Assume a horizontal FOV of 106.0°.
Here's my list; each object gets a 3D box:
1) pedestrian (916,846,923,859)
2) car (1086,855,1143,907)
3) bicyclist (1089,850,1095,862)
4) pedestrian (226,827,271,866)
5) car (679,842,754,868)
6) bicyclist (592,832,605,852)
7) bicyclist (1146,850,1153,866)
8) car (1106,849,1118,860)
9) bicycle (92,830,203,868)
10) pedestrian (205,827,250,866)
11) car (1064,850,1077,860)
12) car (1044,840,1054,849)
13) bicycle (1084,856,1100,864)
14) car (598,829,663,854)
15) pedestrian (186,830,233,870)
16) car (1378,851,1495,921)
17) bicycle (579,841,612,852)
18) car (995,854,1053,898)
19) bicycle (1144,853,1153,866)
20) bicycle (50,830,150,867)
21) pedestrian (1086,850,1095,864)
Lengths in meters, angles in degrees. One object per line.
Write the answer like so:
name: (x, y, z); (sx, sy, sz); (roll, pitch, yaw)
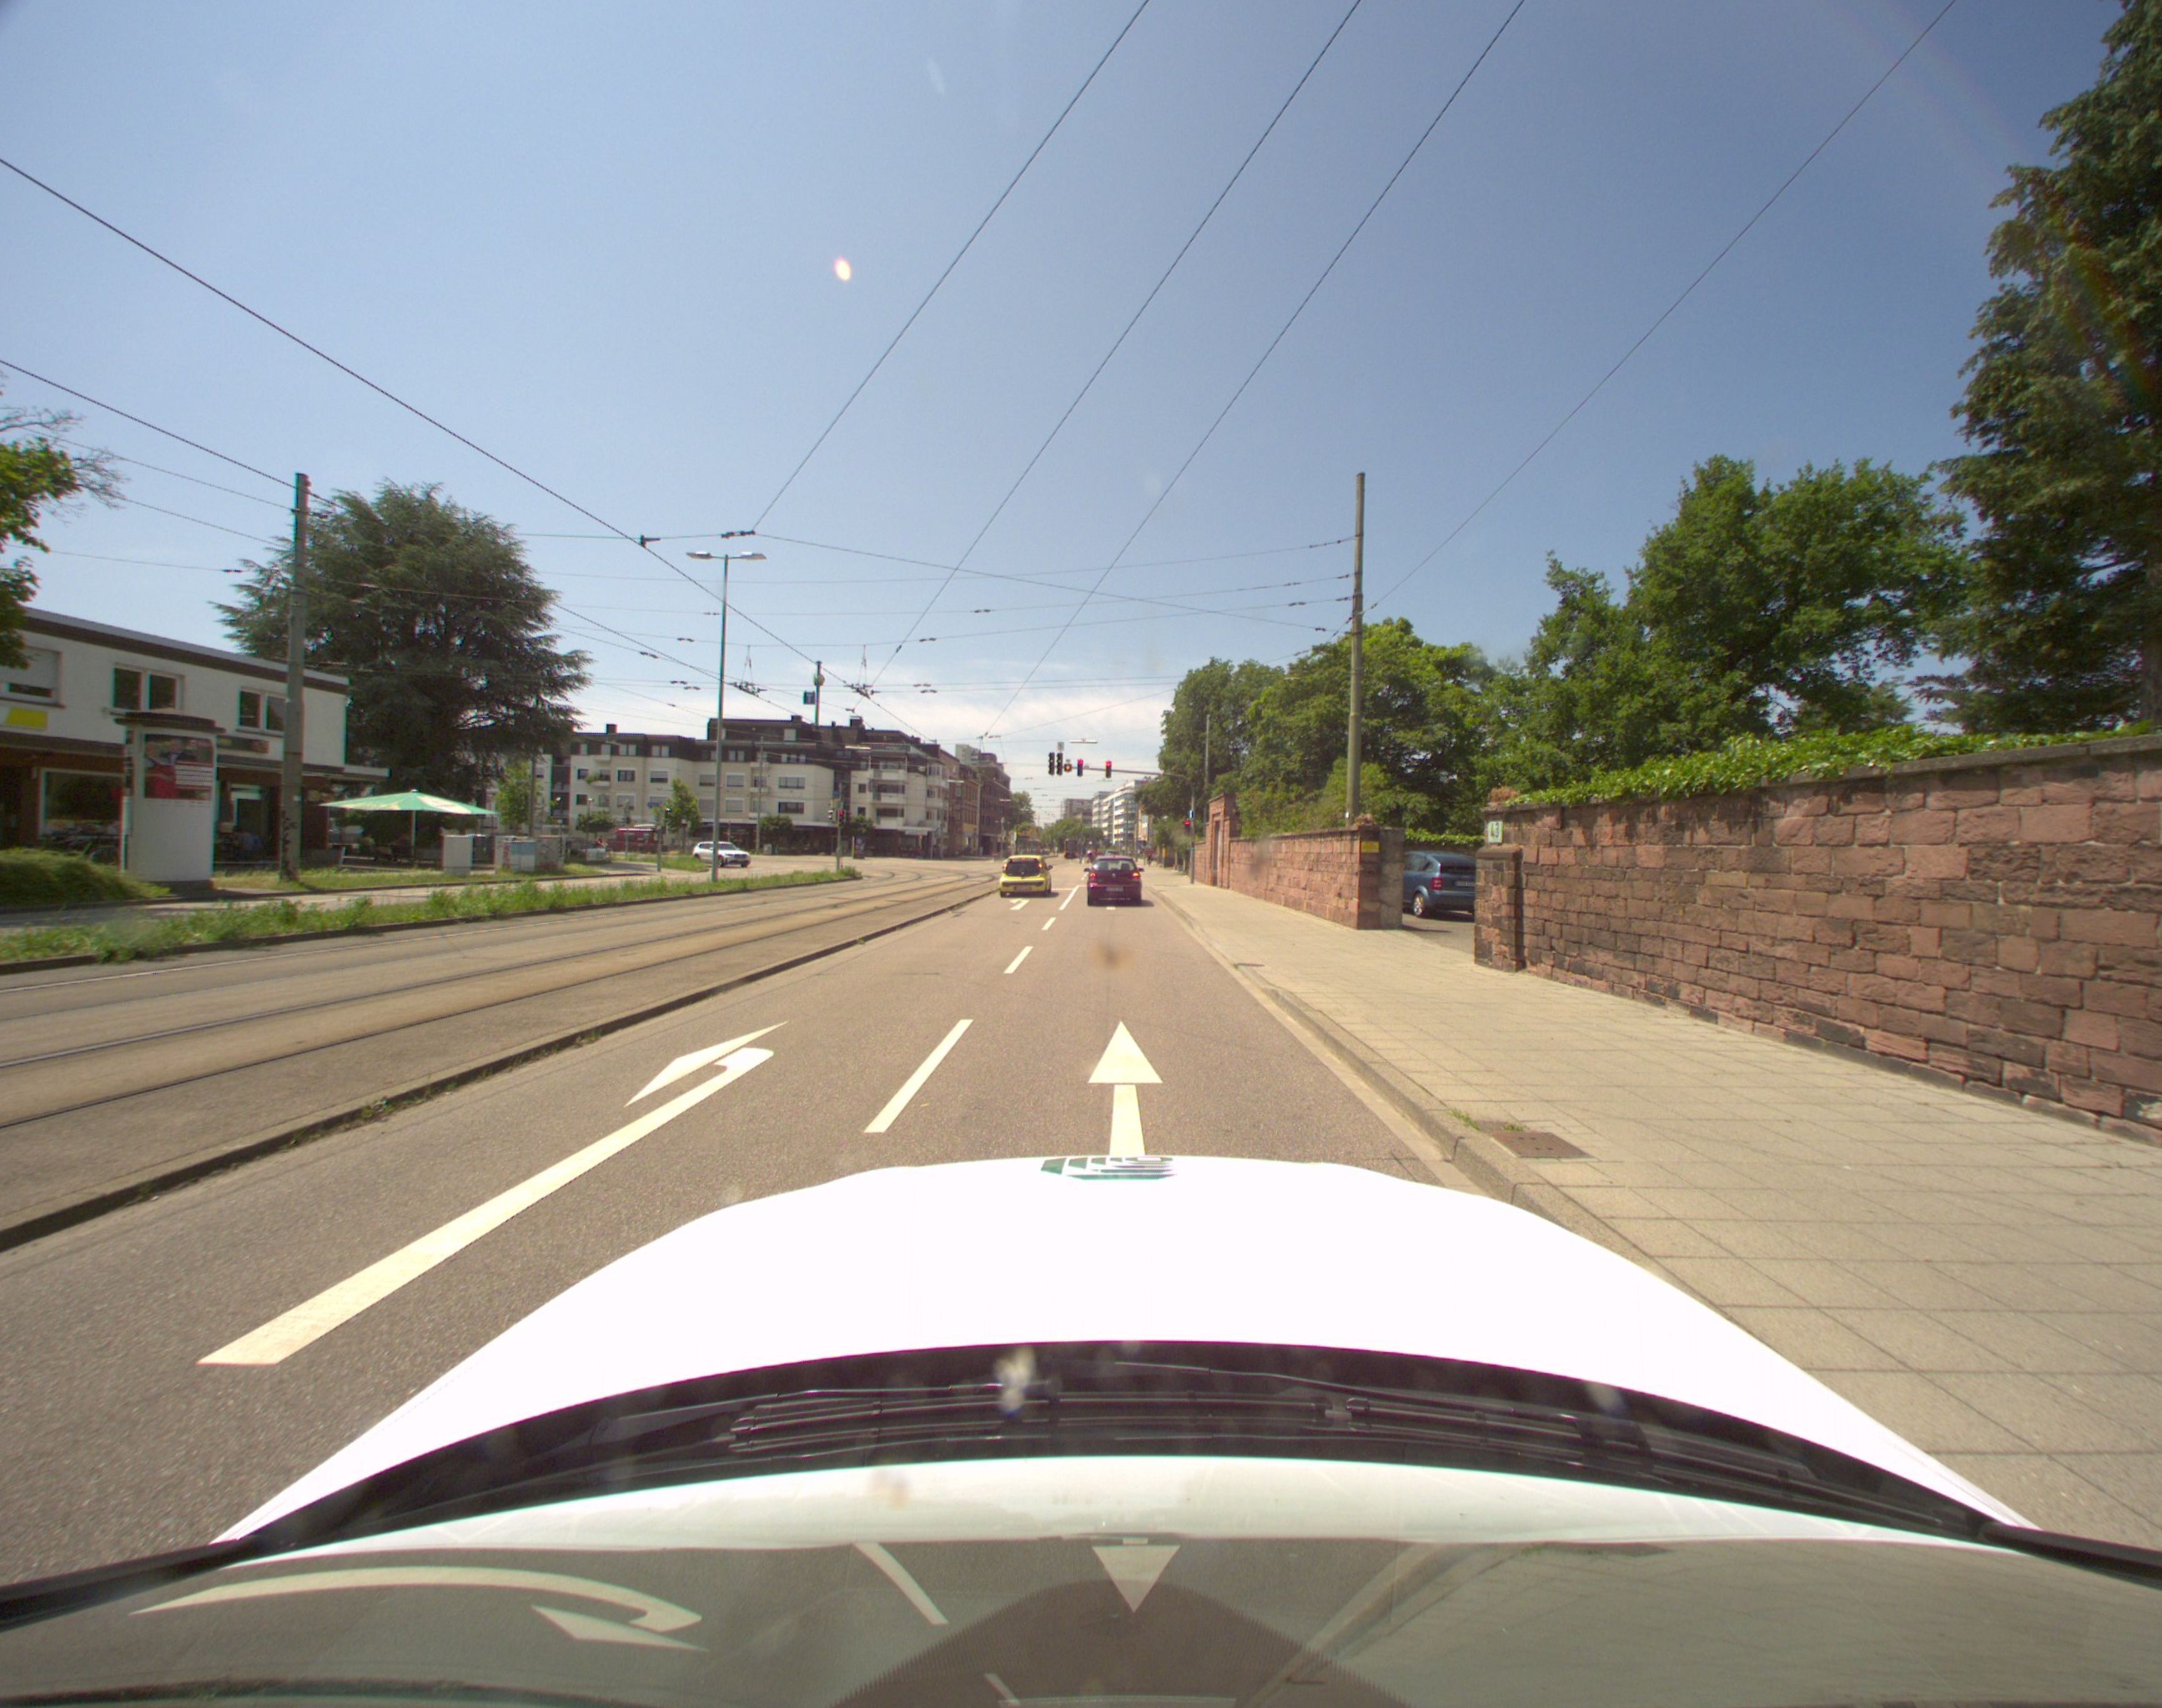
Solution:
pedestrian: (-19.068, -0.138, 96.116); (0.479, 1.541, 0.541); (0, -1, 39)
car: (1.032, 0.771, 25.284); (1.604, 1.463, 4.087); (-1, 0, 2)
bicyclist: (1.271, 0.212, 95.057); (0.764, 1.406, 0.506); (0, -1, -2)
pedestrian: (-27.990, -0.240, 27.397); (0.587, 1.268, 0.842); (0, -1, 2)
car: (-23.129, 0.091, 51.700); (4.514, 1.610, 1.739); (0, -1, 24)
bicyclist: (-35.327, -0.871, 59.615); (0.752, 1.501, 0.479); (1, -1, -19)
bicyclist: (7.595, 0.467, 90.842); (0.718, 1.818, 0.889); (0, -1, 2)
car: (4.067, 0.074, 108.257); (1.566, 1.415, 3.721); (-1, 0, 2)
bicycle: (-25.350, -0.127, 22.172); (0.608, 0.979, 2.030); (0, -1, 2)
pedestrian: (-28.721, -0.245, 27.408); (0.587, 1.268, 0.842); (0, -1, 2)
car: (-1.809, 0.145, 141.208); (1.931, 1.641, 4.001); (0, -1, 2)
car: (-7.034, -2.108, 178.754); (1.728, 2.013, 4.002); (1, 0, 2)
bicycle: (1.309, 0.713, 95.070); (1.861, 1.008, 0.578); (0, -1, -3)
car: (-43.924, -1.179, 79.564); (5.047, 2.341, 2.245); (0, -1, 0)
pedestrian: (-28.138, -0.135, 26.303); (0.587, 1.268, 0.842); (0, -1, 2)
car: (8.385, 0.711, 19.445); (1.476, 1.482, 2.944); (2, 0, 0)
bicycle: (-35.511, -0.524, 59.546); (1.986, 0.783, 0.463); (0, -1, -20)
car: (-1.971, 0.745, 29.068); (1.717, 1.445, 3.294); (0, 1, 2)
bicycle: (7.660, 0.633, 92.130); (0.831, 1.525, 4.002); (0, -1, 2)
bicycle: (-26.664, -0.129, 22.179); (0.536, 0.979, 1.760); (0, -1, 2)
pedestrian: (1.166, 0.317, 97.462); (0.978, 1.661, 0.919); (1, 0, -1)
